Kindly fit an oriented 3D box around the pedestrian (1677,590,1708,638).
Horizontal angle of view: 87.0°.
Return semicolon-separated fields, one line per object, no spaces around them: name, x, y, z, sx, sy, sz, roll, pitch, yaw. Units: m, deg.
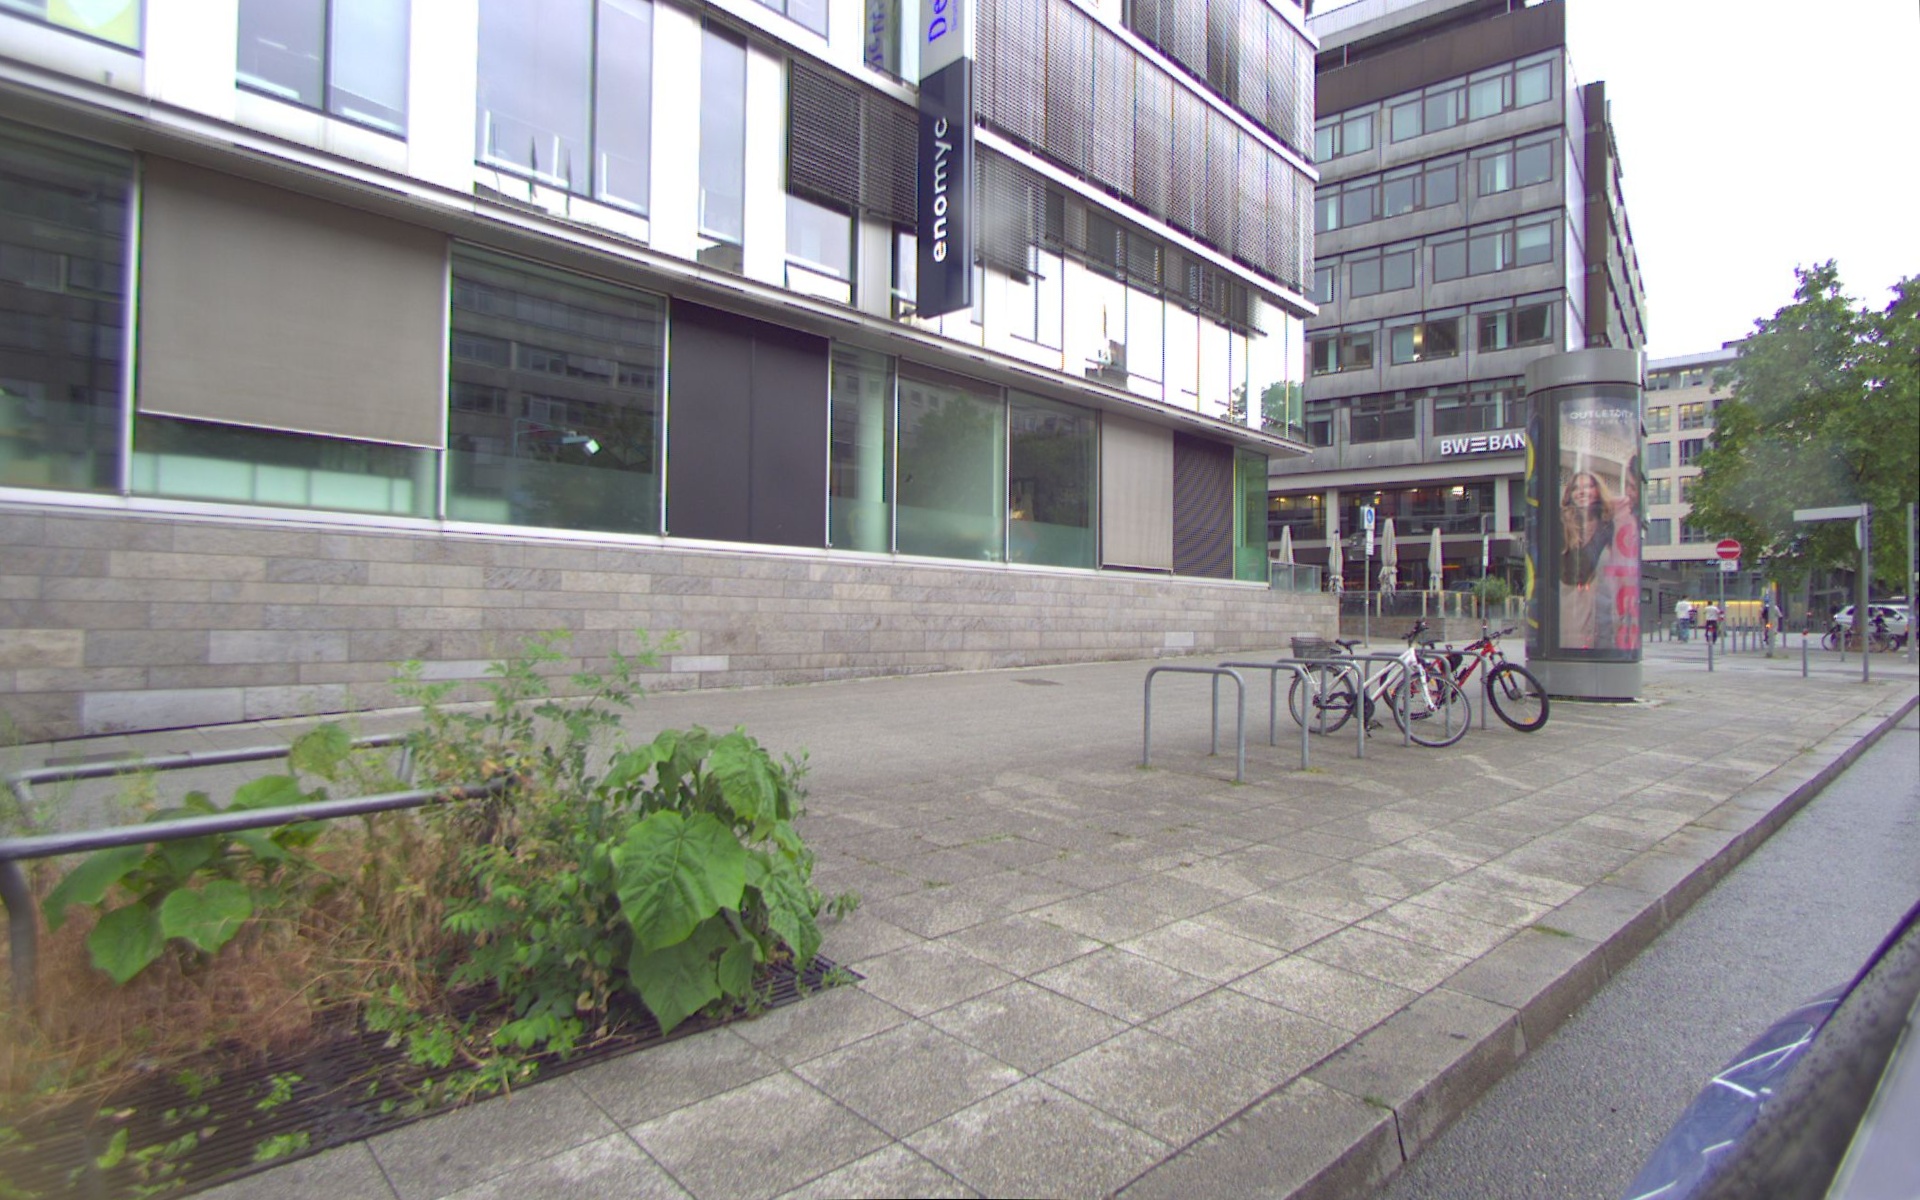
pedestrian;29.839;0.573;41.238;0.883;1.893;0.802;1;-2;-42

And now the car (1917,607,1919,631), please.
car;58.718;1.083;58.936;1.673;1.442;4.068;0;-1;-12

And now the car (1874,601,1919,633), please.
car;46.775;0.811;48.224;1.876;1.557;4.399;0;-1;-14

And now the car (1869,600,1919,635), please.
car;44.814;0.799;46.355;1.876;1.557;4.365;0;-1;-14

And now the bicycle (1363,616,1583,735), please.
bicycle;5.503;0.757;10.985;0.793;1.118;1.989;1;0;-37

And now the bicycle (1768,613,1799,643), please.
bicycle;32.786;1.112;40.310;0.772;1.154;1.951;-4;-4;37

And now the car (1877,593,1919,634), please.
car;48.784;0.666;50.235;1.882;2.018;4.525;0;-1;-12

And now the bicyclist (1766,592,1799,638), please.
bicyclist;32.783;0.604;40.362;0.807;1.772;1.066;-5;-3;35

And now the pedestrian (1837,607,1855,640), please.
pedestrian;51.717;1.355;59.072;0.719;1.908;0.646;-2;-2;43

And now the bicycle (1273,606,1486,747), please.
bicycle;4.045;0.685;9.892;0.648;1.212;1.841;1;0;-37

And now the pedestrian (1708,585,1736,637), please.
pedestrian;30.582;0.448;40.631;0.847;2.065;0.743;-2;-2;37

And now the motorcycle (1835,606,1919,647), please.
motorcycle;31.779;0.901;35.040;0.664;1.375;2.090;1;-2;-34

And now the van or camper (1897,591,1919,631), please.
van or camper;61.329;0.641;61.436;2.267;2.479;6.275;0;-1;-11

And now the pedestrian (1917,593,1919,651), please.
pedestrian;28.617;0.650;29.654;0.706;1.707;0.530;0;-2;-19

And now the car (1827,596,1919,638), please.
car;38.718;0.689;41.373;1.876;1.671;4.812;0;-1;-11

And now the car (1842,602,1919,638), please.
car;41.075;0.861;43.401;1.877;1.493;4.729;0;-1;-9
